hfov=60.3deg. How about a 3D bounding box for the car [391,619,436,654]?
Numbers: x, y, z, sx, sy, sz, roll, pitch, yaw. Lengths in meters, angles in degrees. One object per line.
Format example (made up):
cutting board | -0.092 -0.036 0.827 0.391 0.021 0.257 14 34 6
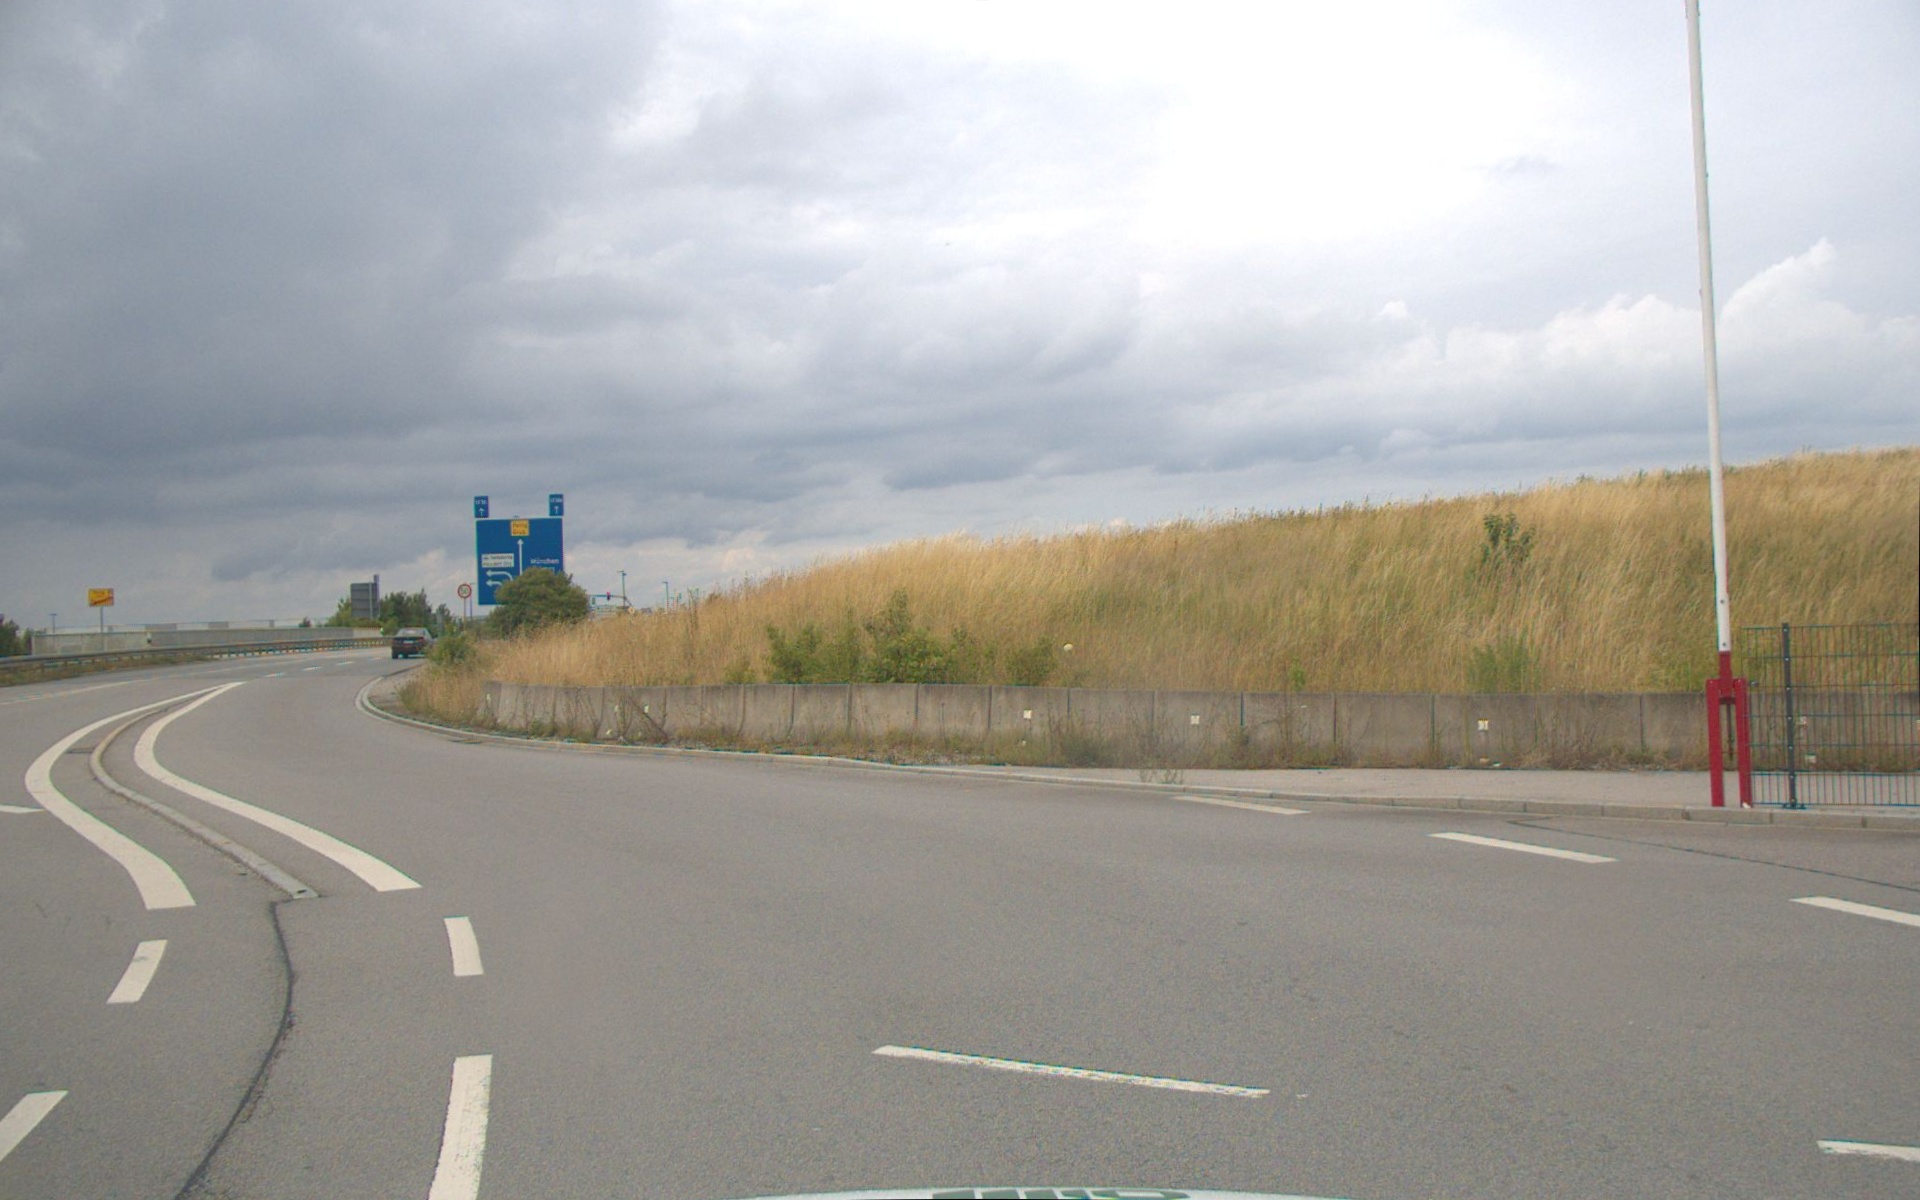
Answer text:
car | -24.635 1.647 74.620 1.491 1.511 3.604 -1 -1 -12
